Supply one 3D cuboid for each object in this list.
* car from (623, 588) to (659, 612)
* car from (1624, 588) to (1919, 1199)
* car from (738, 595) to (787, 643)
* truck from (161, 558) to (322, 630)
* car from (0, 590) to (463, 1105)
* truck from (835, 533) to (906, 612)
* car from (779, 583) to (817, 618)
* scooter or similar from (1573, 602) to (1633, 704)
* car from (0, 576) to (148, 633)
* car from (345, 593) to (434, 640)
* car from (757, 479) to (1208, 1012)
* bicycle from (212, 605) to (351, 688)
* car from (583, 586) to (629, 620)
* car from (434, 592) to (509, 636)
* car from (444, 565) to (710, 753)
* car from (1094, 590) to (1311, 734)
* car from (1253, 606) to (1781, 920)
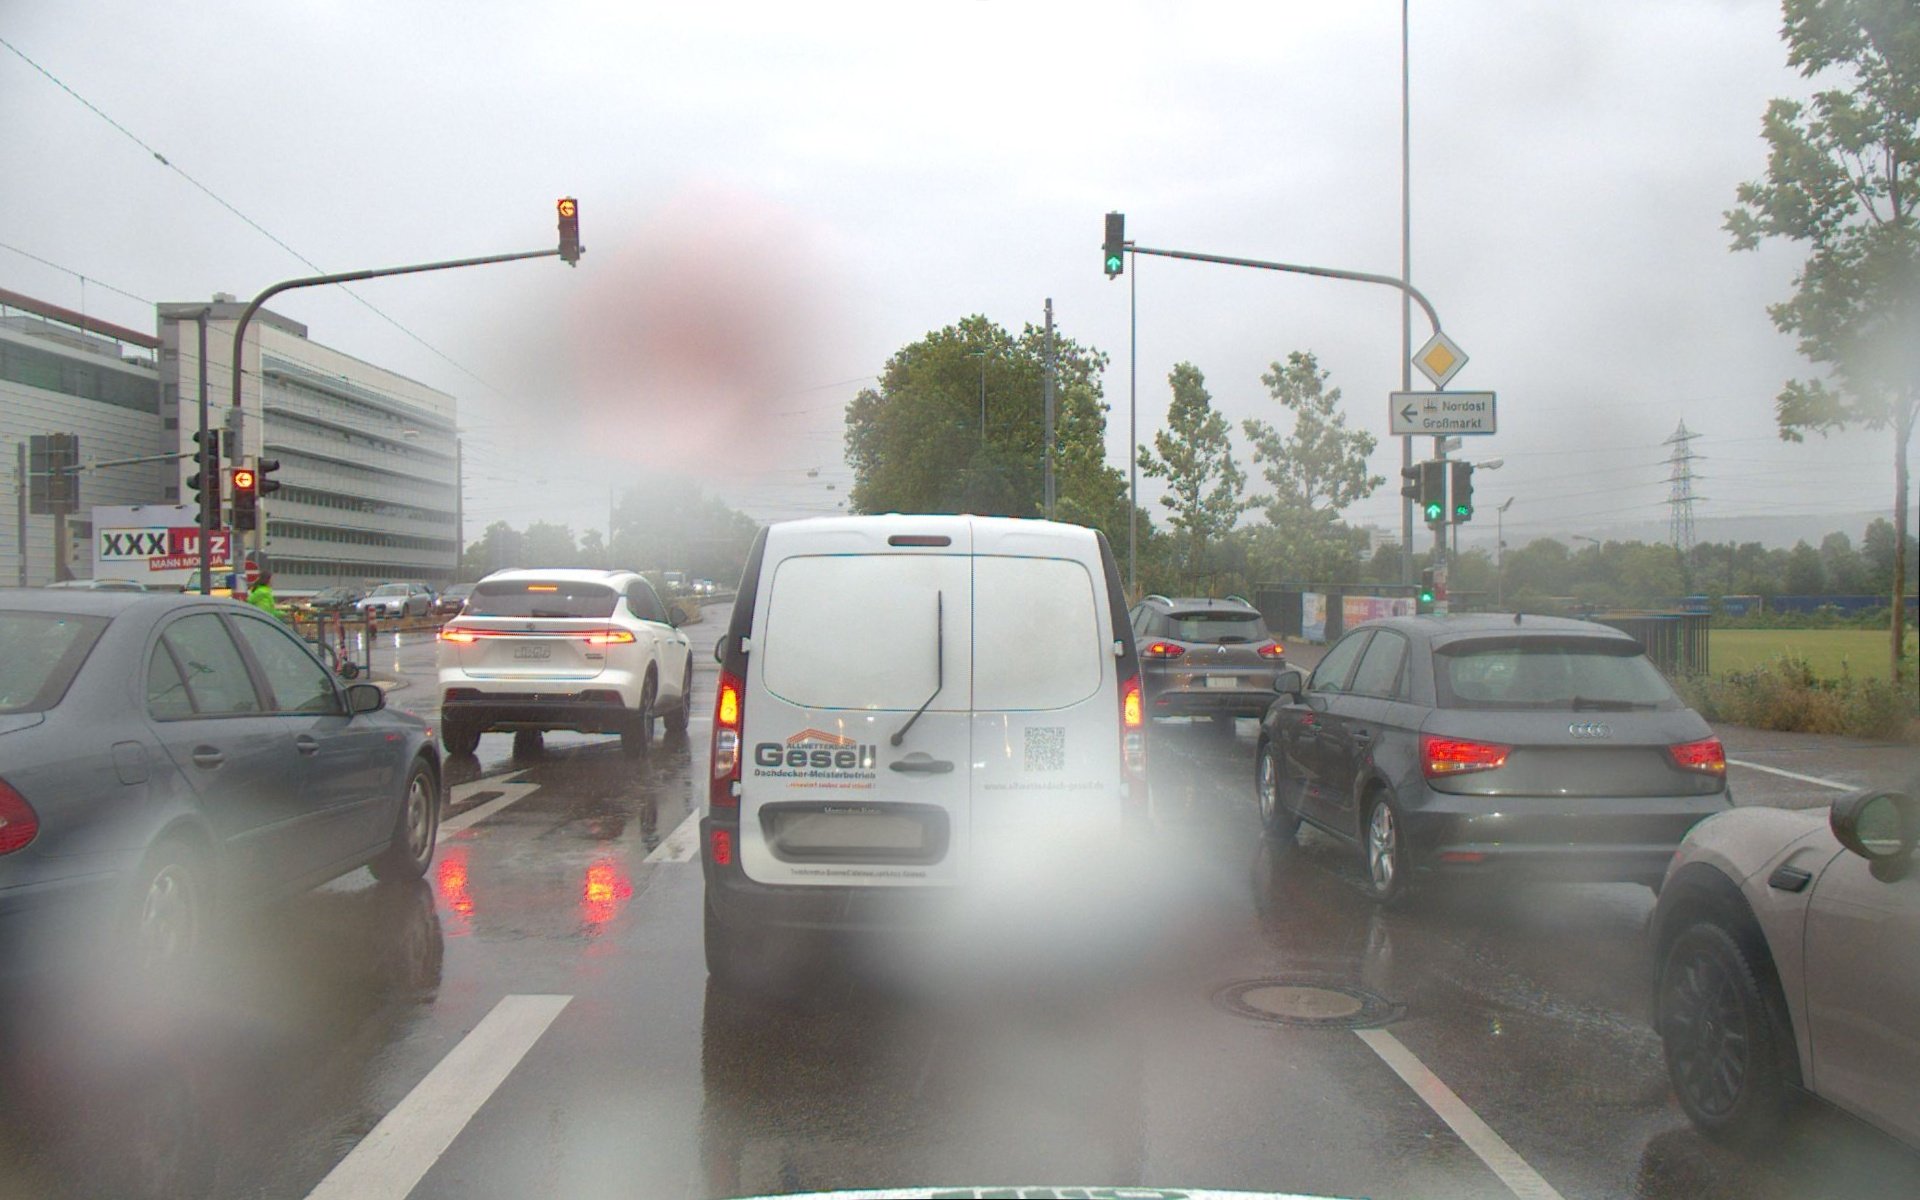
[{"bbox_3d":[-22.360,0.016,116.126,1.727,1.577,3.680,1,0,1],"label":"car"},{"bbox_3d":[2.911,0.756,3.216,1.679,1.534,3.622,1,0,-2],"label":"car"},{"bbox_3d":[-8.172,0.772,68.443,1.956,1.892,3.994,1,0,-7],"label":"car"},{"bbox_3d":[-25.149,-0.183,58.323,2.303,2.319,7.632,1,0,0],"label":"truck"},{"bbox_3d":[-3.536,0.690,6.633,1.726,1.423,4.644,1,-1,-1],"label":"car"},{"bbox_3d":[-3.519,-0.992,64.395,2.580,2.865,7.140,1,0,-4],"label":"truck"},{"bbox_3d":[-9.420,0.049,96.667,1.954,1.892,3.997,2,-1,-3],"label":"car"},{"bbox_3d":[7.625,0.613,19.643,0.240,1.178,1.186,1,0,1],"label":"scooter or similar"},{"bbox_3d":[-22.478,0.119,42.064,1.554,1.359,3.832,1,-1,4],"label":"car"},{"bbox_3d":[-22.009,0.634,63.950,1.853,1.729,4.001,1,0,3],"label":"car"},{"bbox_3d":[0.054,0.504,7.674,1.534,1.819,3.999,0,0,-1],"label":"car"},{"bbox_3d":[-9.584,0.656,23.377,1.716,1.052,0.414,4,-1,-3],"label":"bicycle"},{"bbox_3d":[-22.149,0.209,103.658,1.952,2.049,4.000,1,0,1],"label":"car"},{"bbox_3d":[-21.732,0.612,73.727,1.889,1.859,4.002,1,0,4],"label":"car"},{"bbox_3d":[-3.552,0.475,16.087,1.694,1.562,4.296,1,1,-2],"label":"car"},{"bbox_3d":[2.693,0.644,19.199,1.822,1.453,3.806,1,1,-2],"label":"car"},{"bbox_3d":[2.800,0.734,9.152,1.596,1.368,3.622,1,0,-2],"label":"car"}]
